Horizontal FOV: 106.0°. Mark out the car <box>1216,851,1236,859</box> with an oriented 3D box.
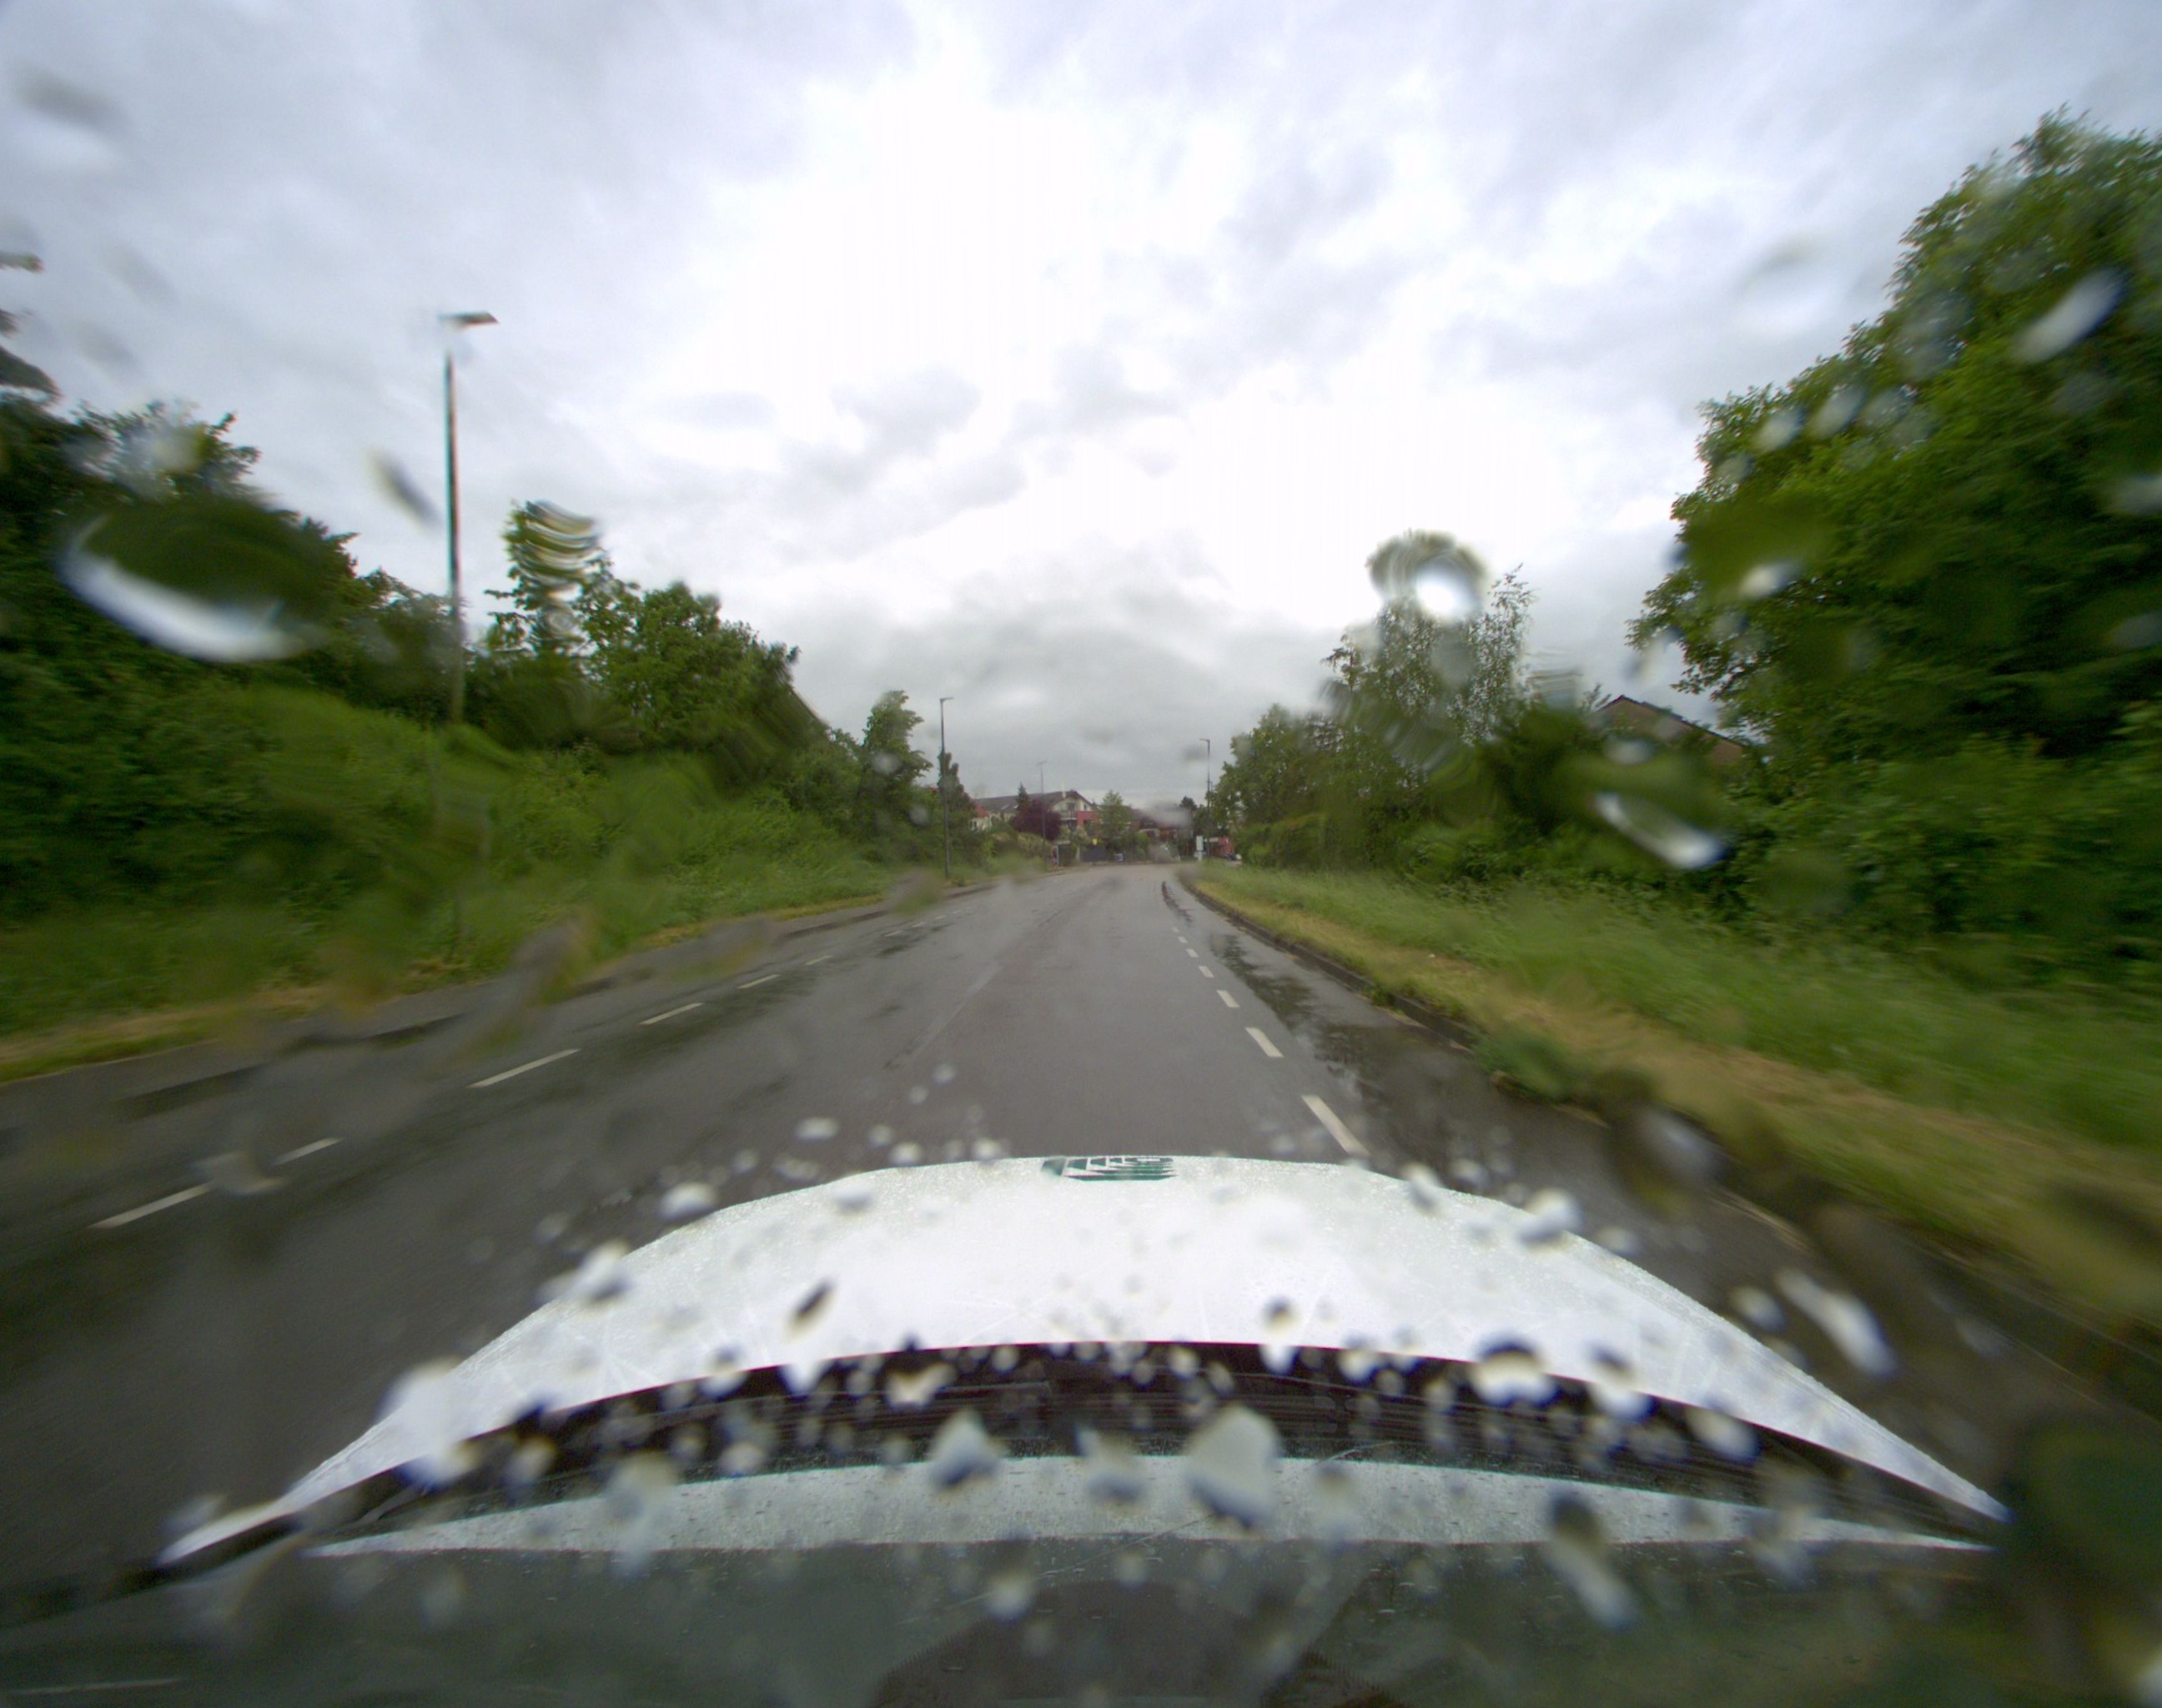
[{"bbox_3d":[28.925,0.165,162.706,3.541,1.506,1.867,2,1,39],"label":"car"}]
